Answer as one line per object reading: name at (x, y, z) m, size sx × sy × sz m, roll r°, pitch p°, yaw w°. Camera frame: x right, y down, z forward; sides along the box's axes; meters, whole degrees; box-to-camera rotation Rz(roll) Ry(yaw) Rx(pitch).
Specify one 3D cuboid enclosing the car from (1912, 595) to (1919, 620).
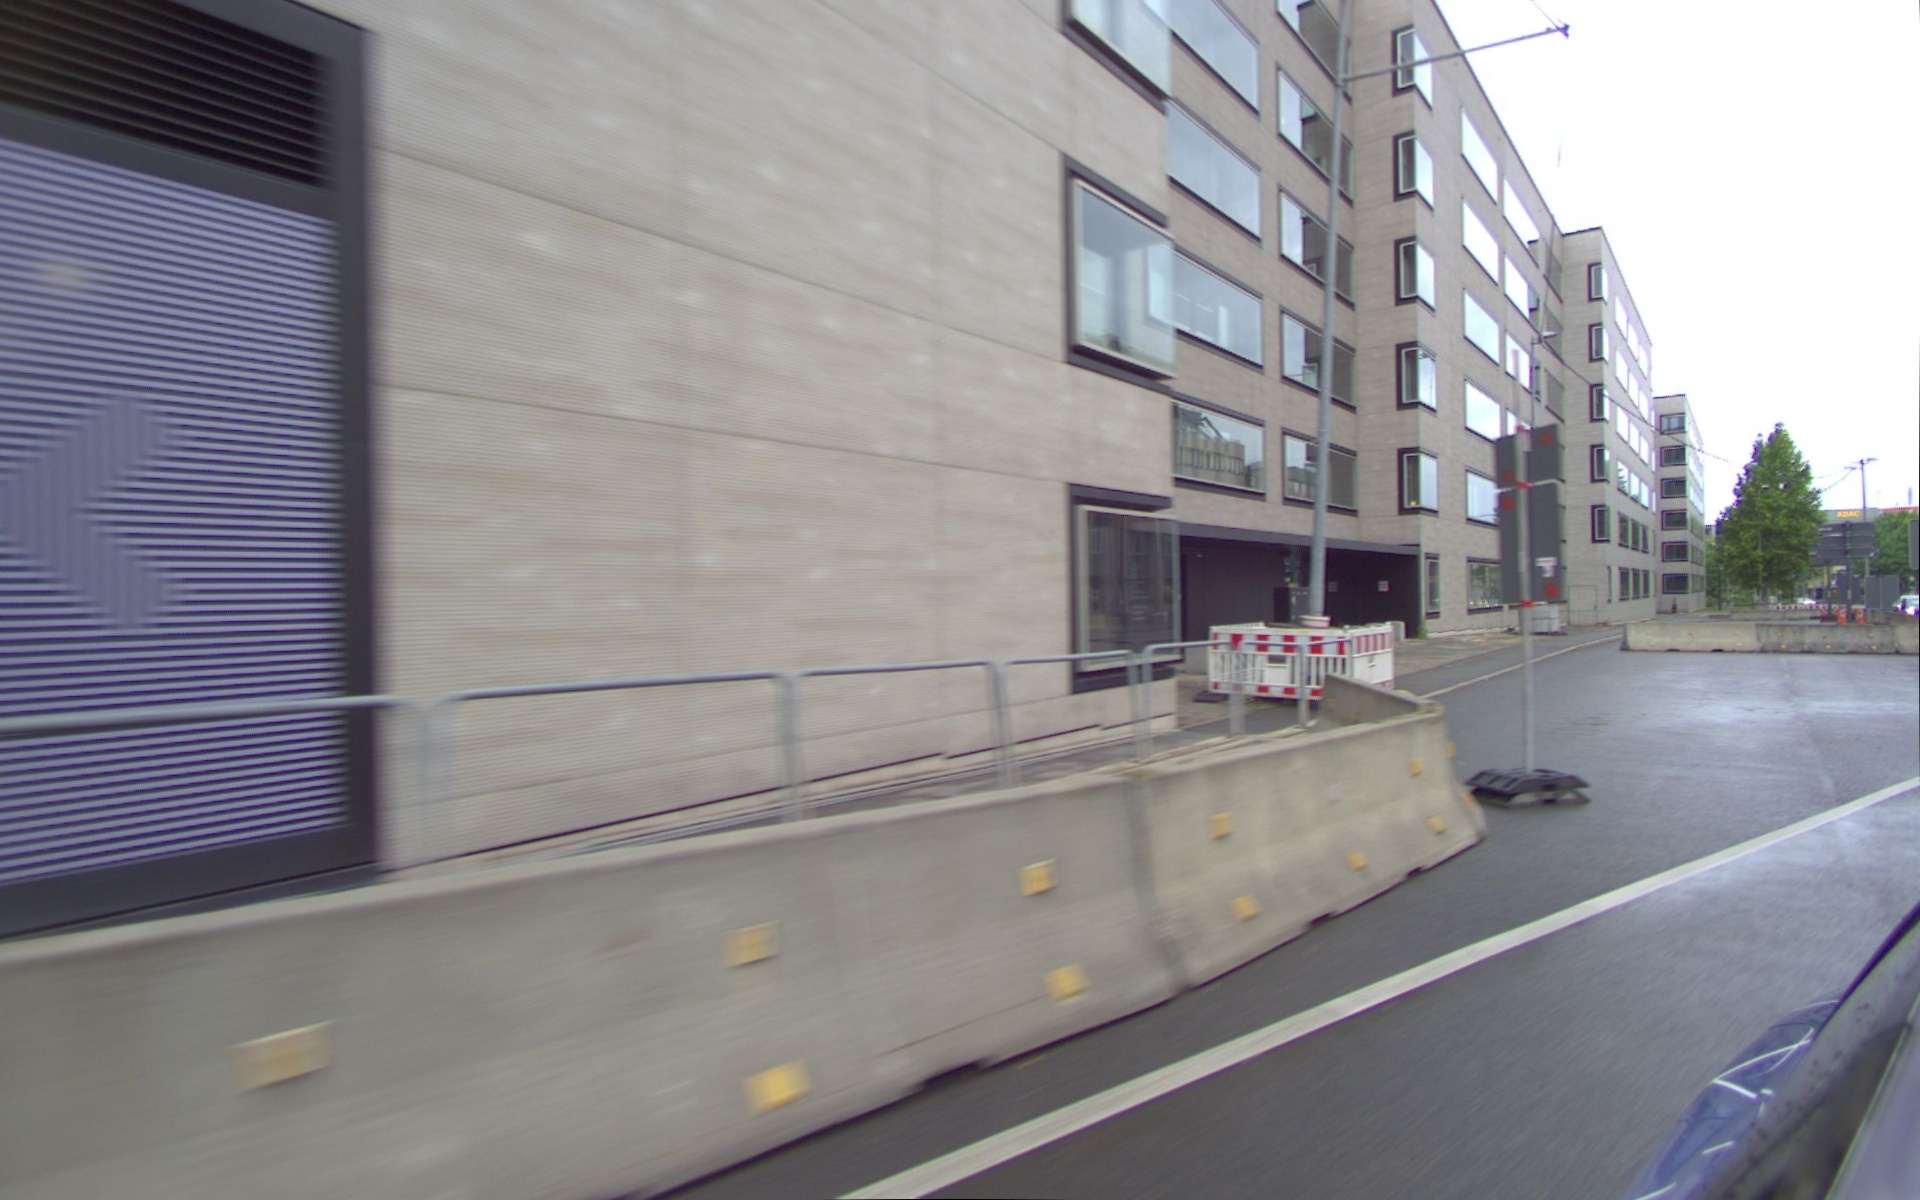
car at (61.757, 0.461, 64.051) m, size 1.764 × 1.553 × 4.591 m, roll -1°, pitch 0°, yaw 39°

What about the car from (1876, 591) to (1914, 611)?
car at (71.776, 0.077, 77.705) m, size 1.764 × 1.553 × 4.591 m, roll -1°, pitch 0°, yaw 39°
